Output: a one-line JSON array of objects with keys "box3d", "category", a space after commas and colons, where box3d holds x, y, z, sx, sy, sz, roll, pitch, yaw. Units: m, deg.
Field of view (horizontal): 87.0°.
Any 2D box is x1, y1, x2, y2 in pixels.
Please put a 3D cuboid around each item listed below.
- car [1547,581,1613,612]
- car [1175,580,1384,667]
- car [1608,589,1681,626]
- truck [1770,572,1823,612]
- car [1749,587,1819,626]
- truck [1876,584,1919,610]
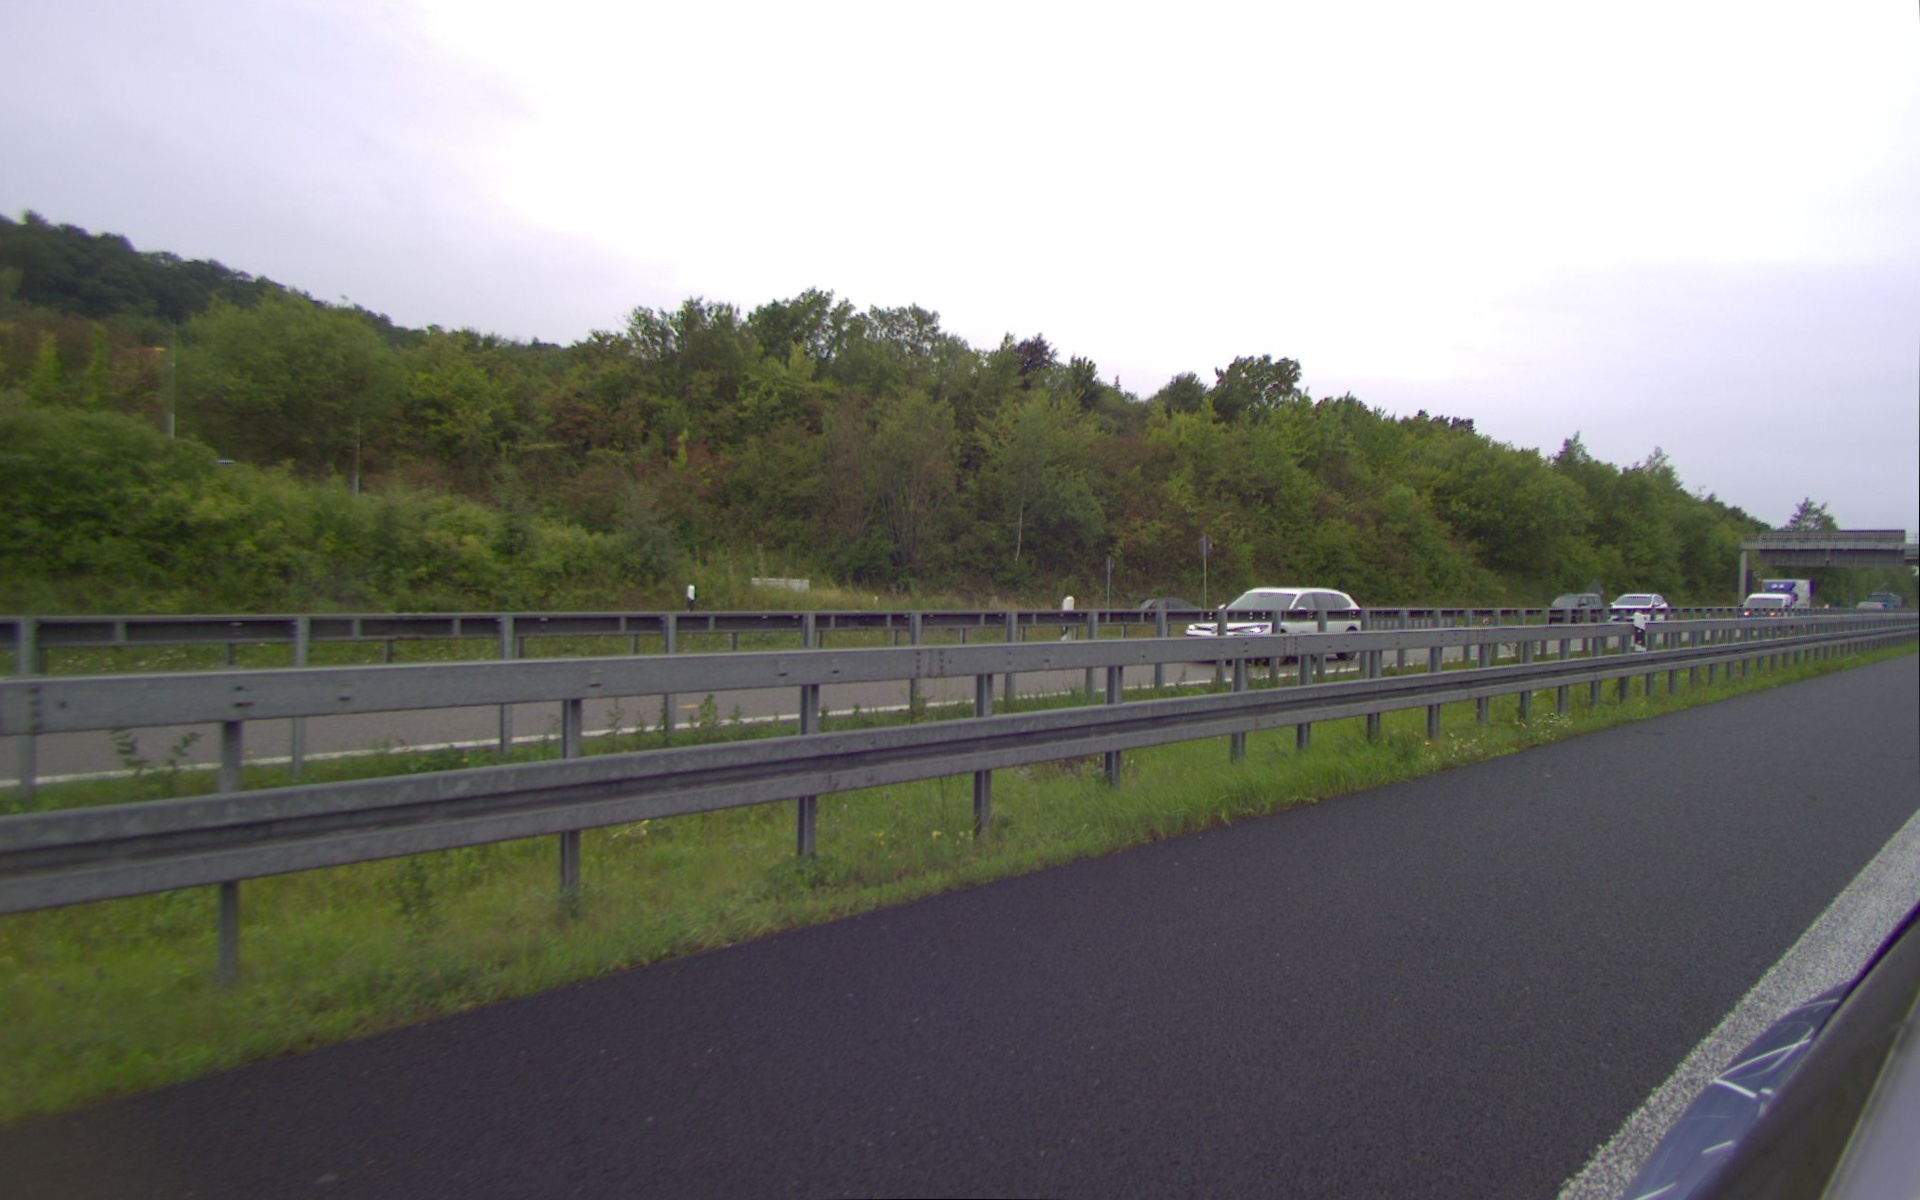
[{"box3d": [35.939, -0.223, 58.636, 4.561, 1.757, 1.997, 0, 1, -41], "category": "car"}, {"box3d": [6.597, 0.398, 20.630, 4.615, 1.567, 2.011, 0, 1, -42], "category": "car"}, {"box3d": [32.122, 0.307, 47.449, 4.074, 1.633, 1.899, 0, 1, -41], "category": "car"}, {"box3d": [77.383, -0.747, 93.545, 9.131, 3.460, 2.903, 0, 1, -45], "category": "truck"}, {"box3d": [40.450, 0.280, 49.646, 4.202, 1.837, 2.011, 0, 1, -41], "category": "car"}, {"box3d": [128.672, -0.460, 138.252, 13.108, 3.460, 2.909, 0, 1, -38], "category": "truck"}]
